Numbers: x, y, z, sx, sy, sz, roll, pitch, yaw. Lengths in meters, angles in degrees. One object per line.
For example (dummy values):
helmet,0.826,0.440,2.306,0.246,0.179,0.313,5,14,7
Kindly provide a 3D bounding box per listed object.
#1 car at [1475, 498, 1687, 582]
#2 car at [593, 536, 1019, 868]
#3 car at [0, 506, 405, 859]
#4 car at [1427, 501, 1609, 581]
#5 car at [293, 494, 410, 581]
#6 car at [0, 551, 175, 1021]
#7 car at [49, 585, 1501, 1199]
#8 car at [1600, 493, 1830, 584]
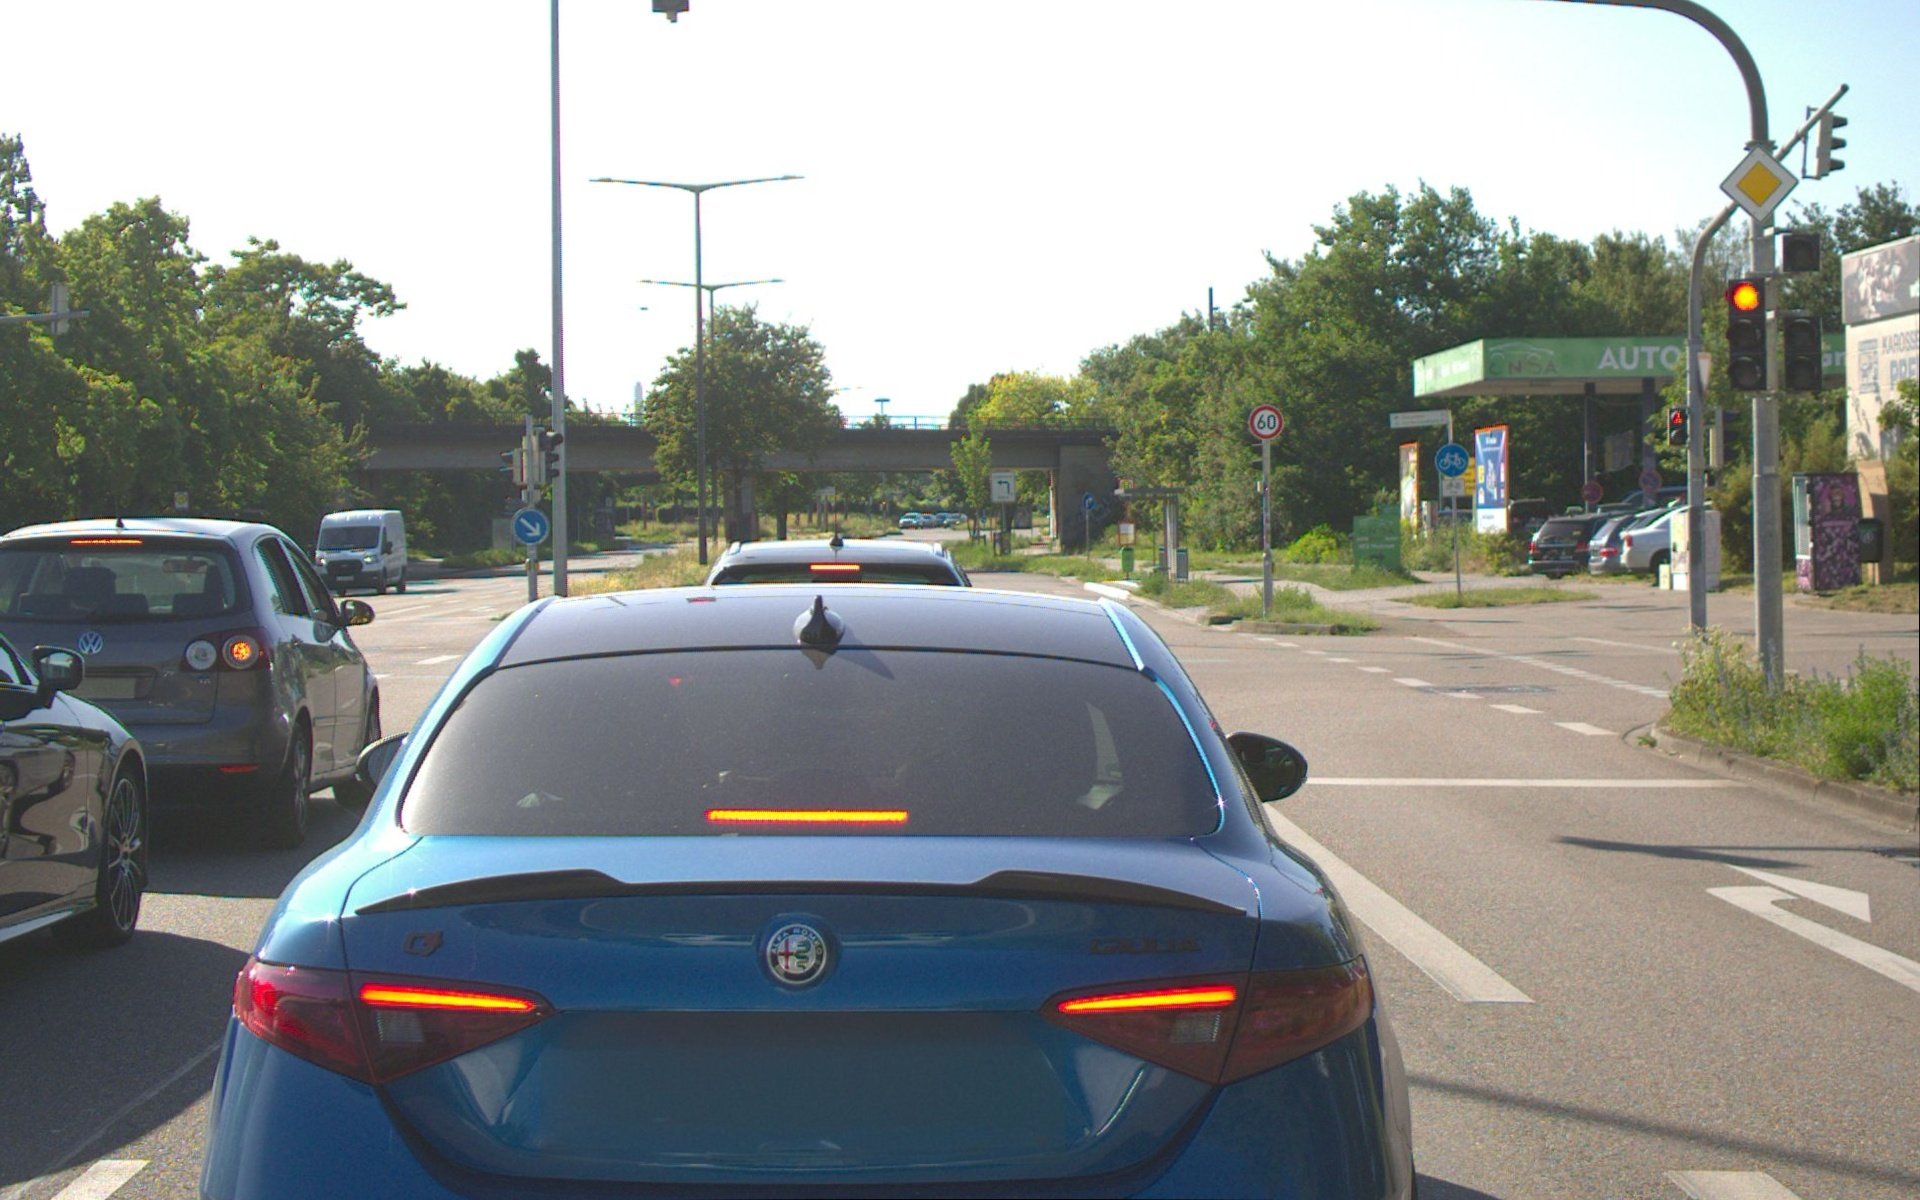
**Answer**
car,12.823,-1.241,70.970,3.986,1.700,1.696,-1,1,-19
car,-0.699,0.414,17.086,1.866,1.445,3.932,0,1,-1
car,-3.960,0.334,17.541,1.648,1.593,3.932,0,1,-1
car,12.022,-1.278,74.161,3.483,1.700,1.696,-1,1,-16
car,-17.683,-1.834,100.224,2.431,2.418,5.831,0,1,-1
car,-3.806,0.573,10.648,1.768,1.409,4.461,0,1,-1
car,-0.262,0.699,6.398,1.866,1.380,3.932,0,1,-1
car,14.513,-1.188,66.114,3.986,1.700,1.696,-1,1,-16
